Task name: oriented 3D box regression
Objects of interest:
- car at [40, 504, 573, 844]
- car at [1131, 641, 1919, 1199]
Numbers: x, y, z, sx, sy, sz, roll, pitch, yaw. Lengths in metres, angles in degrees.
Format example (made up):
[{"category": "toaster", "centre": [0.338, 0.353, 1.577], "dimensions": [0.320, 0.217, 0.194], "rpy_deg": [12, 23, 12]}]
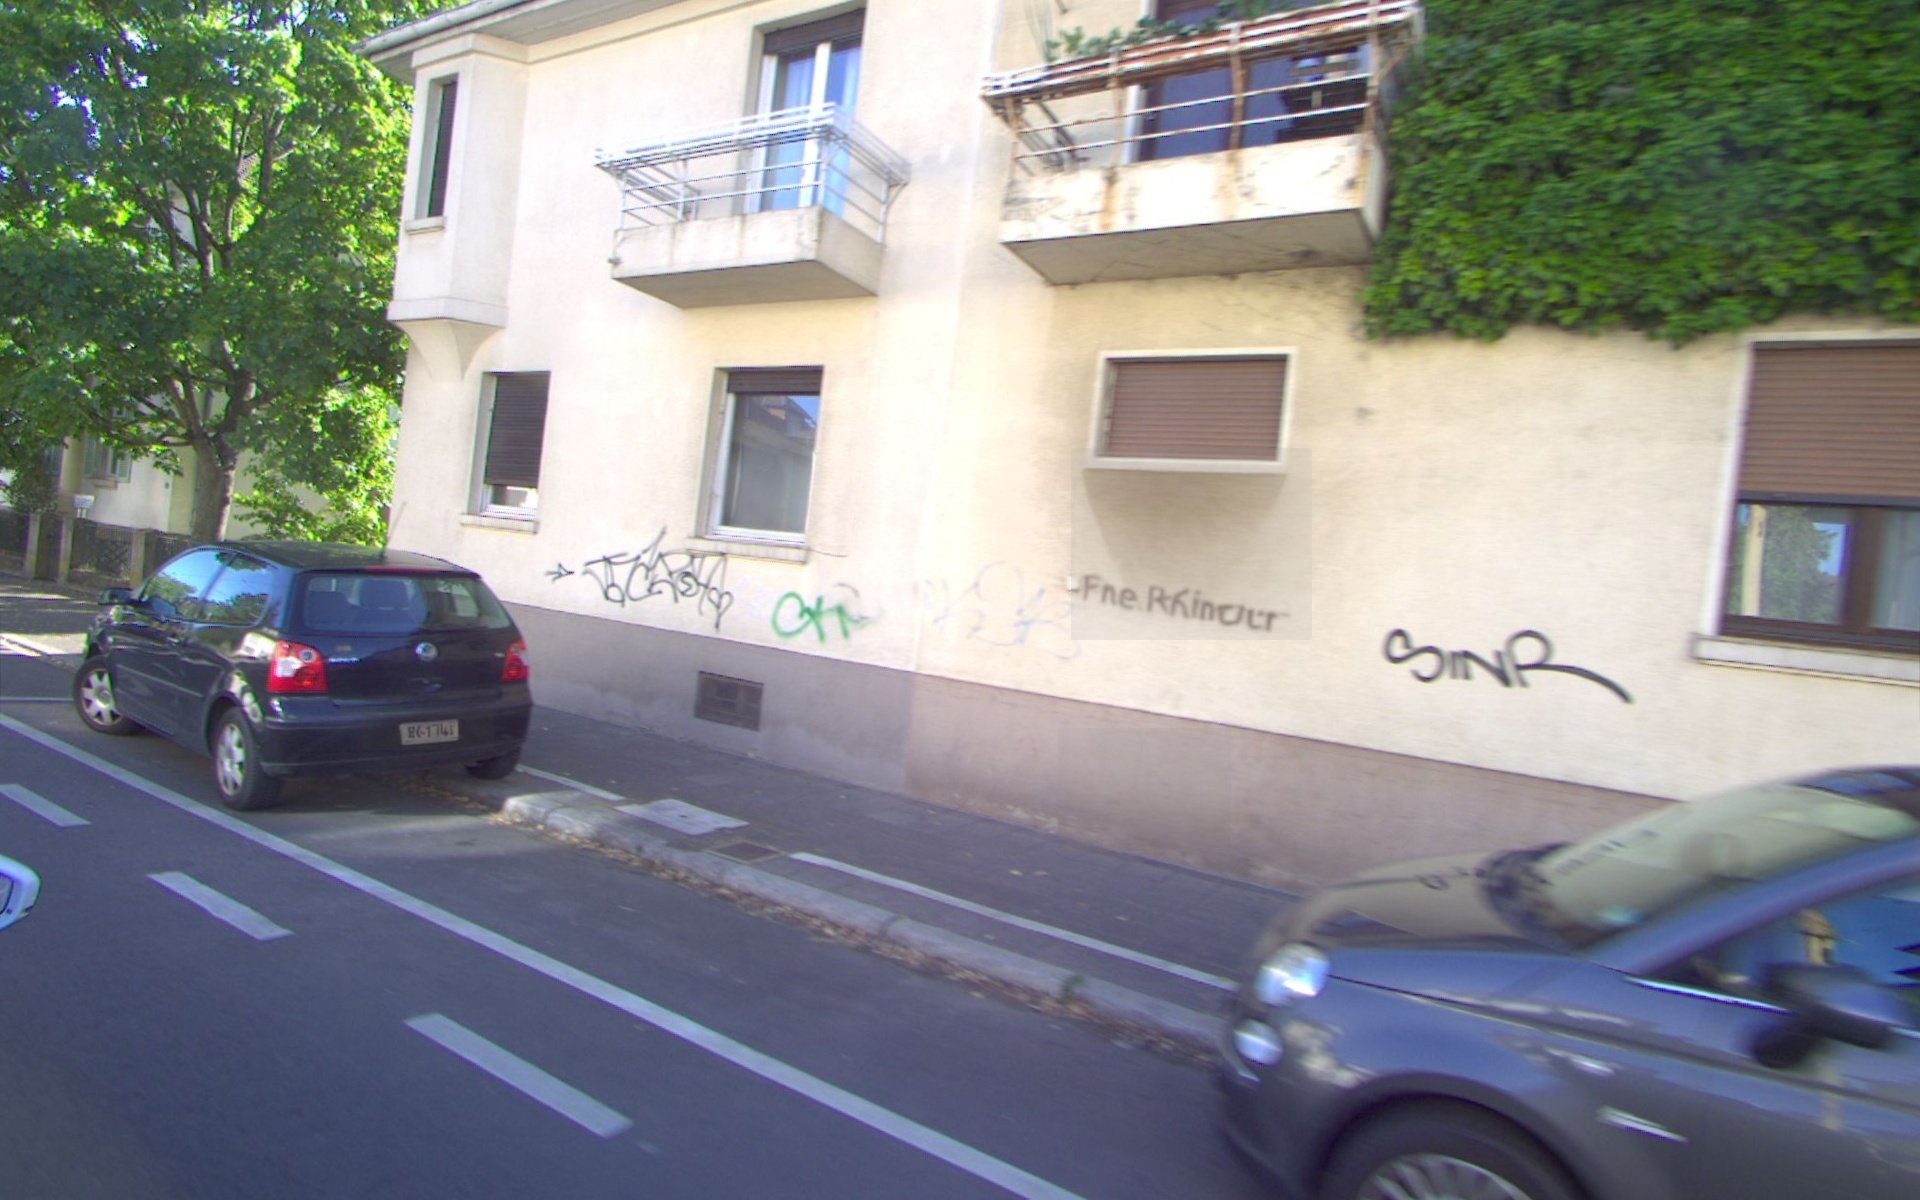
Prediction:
[{"category": "car", "centre": [-4.517, 0.332, 6.786], "dimensions": [3.712, 1.583, 1.666], "rpy_deg": [6, 0, 35]}, {"category": "car", "centre": [2.415, 1.137, 2.433], "dimensions": [3.488, 1.543, 1.605], "rpy_deg": [7, -1, 29]}]
